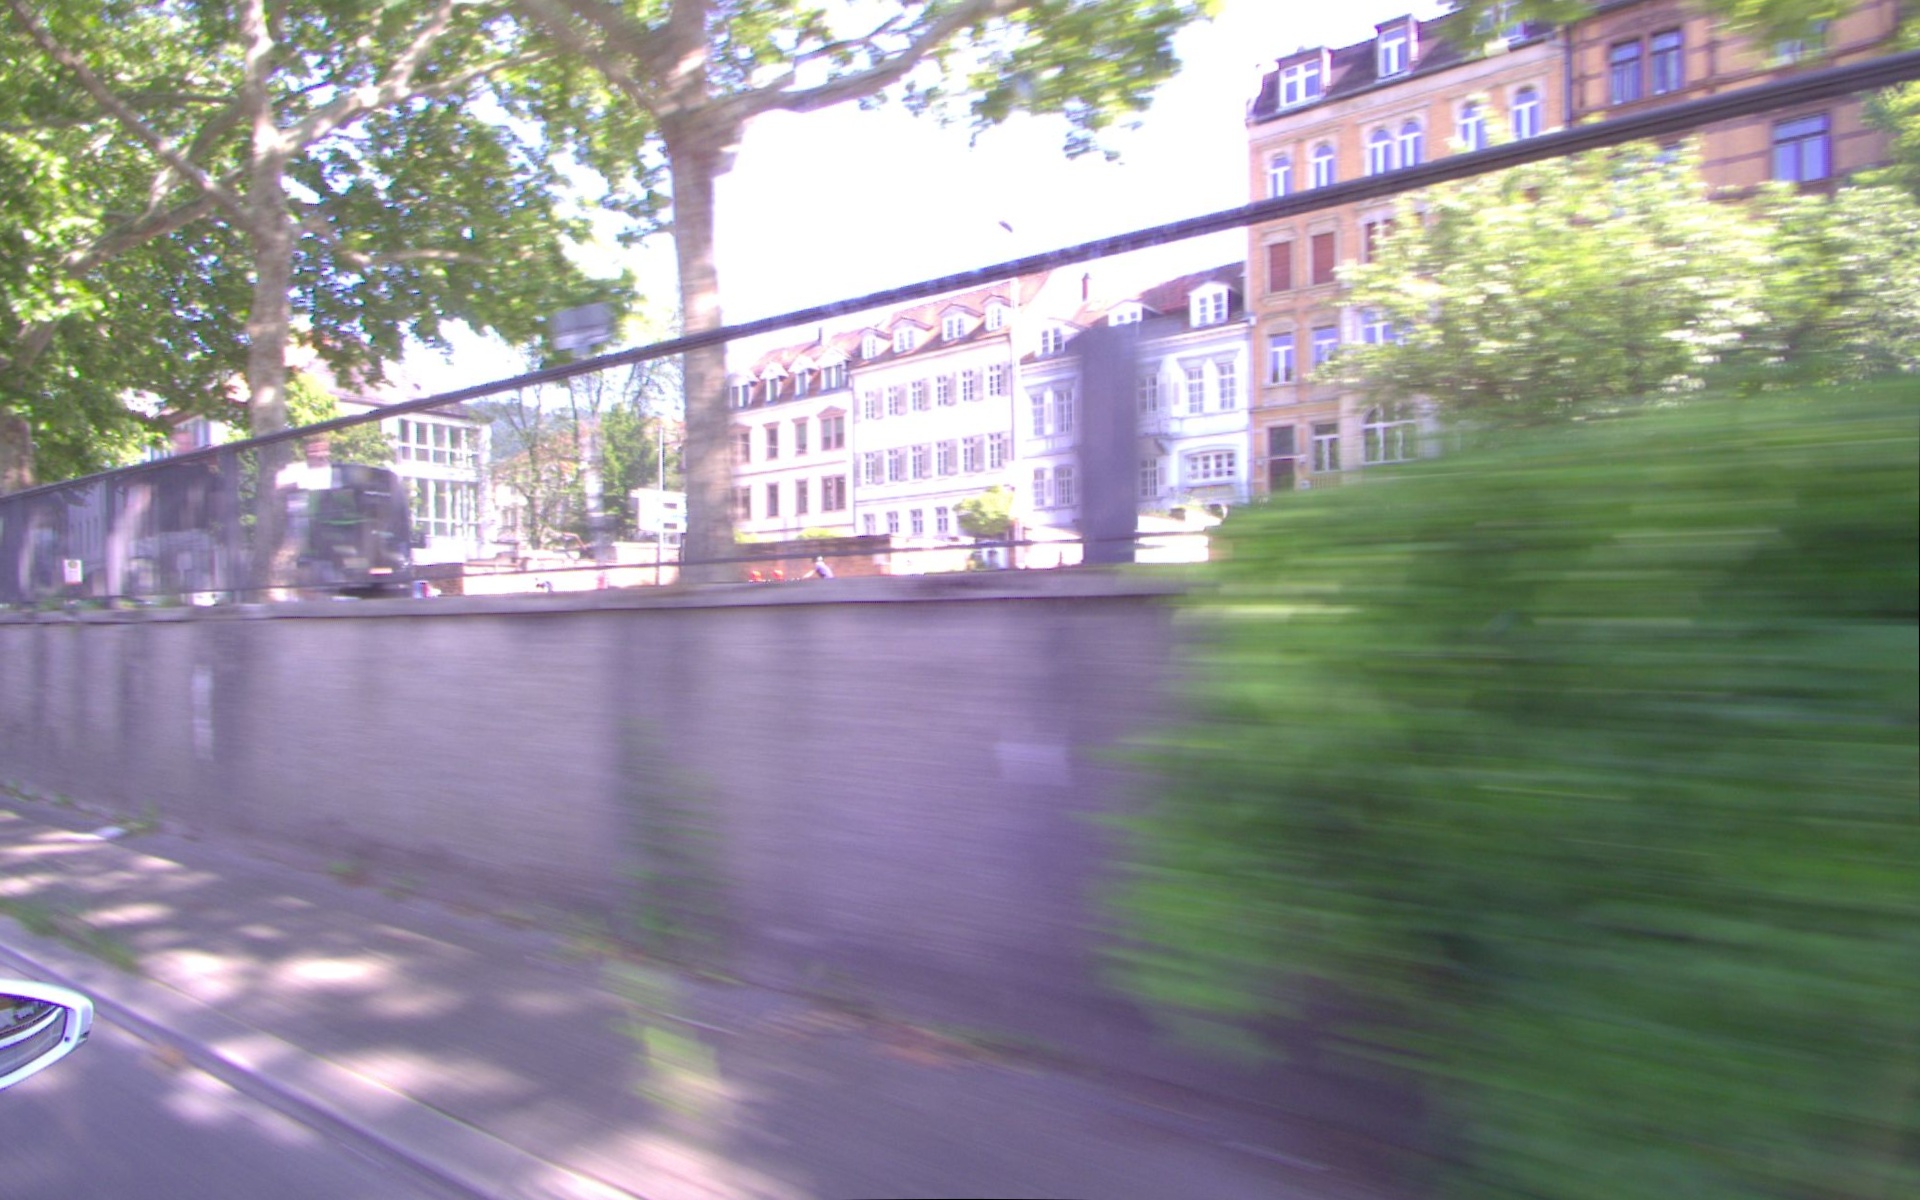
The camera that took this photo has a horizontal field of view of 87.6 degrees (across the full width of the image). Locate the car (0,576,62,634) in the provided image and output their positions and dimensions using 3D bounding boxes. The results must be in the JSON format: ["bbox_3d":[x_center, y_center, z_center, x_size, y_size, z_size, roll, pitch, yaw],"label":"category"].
[{"bbox_3d":[-26.142,0.165,27.191,1.754,1.488,3.981,1,-1,-29],"label":"car"}]

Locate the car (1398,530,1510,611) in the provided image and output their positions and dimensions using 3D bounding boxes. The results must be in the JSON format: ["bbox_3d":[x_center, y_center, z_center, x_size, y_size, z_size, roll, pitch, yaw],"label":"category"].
[{"bbox_3d":[10.632,-0.554,21.431,1.766,1.557,3.777,0,0,32],"label":"car"}]

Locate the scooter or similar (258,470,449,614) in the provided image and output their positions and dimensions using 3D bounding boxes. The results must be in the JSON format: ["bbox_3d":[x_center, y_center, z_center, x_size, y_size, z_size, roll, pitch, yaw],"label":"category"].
[{"bbox_3d":[-4.815,-0.435,7.964,1.091,1.040,0.853,-1,3,32],"label":"scooter or similar"}]

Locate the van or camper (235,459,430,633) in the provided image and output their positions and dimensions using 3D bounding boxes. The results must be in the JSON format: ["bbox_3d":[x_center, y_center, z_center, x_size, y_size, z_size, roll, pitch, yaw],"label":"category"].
[{"bbox_3d":[-10.706,-0.626,17.687,2.311,2.210,7.328,2,-4,-28],"label":"van or camper"}]

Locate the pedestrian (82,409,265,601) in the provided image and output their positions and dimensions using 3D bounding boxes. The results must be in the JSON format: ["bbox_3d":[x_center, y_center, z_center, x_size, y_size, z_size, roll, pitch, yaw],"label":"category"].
[{"bbox_3d":[-7.128,-0.818,9.101,1.012,1.601,0.934,0,3,30],"label":"pedestrian"}]

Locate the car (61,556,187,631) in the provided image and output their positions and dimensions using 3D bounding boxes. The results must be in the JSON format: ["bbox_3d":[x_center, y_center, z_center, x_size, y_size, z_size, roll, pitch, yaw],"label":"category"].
[{"bbox_3d":[-18.462,-0.085,22.264,1.632,1.520,3.796,0,-1,-32],"label":"car"}]

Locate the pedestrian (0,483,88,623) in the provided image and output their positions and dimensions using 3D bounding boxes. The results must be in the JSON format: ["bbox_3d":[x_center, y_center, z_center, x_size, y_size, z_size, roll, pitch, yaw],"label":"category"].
[{"bbox_3d":[-10.112,-0.493,10.856,0.935,1.444,0.678,0,3,32],"label":"pedestrian"}]

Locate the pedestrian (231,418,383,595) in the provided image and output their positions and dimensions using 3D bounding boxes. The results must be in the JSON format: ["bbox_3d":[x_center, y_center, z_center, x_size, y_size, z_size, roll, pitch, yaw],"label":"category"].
[{"bbox_3d":[-5.523,-0.749,8.476,0.975,1.384,0.678,0,3,32],"label":"pedestrian"}]
